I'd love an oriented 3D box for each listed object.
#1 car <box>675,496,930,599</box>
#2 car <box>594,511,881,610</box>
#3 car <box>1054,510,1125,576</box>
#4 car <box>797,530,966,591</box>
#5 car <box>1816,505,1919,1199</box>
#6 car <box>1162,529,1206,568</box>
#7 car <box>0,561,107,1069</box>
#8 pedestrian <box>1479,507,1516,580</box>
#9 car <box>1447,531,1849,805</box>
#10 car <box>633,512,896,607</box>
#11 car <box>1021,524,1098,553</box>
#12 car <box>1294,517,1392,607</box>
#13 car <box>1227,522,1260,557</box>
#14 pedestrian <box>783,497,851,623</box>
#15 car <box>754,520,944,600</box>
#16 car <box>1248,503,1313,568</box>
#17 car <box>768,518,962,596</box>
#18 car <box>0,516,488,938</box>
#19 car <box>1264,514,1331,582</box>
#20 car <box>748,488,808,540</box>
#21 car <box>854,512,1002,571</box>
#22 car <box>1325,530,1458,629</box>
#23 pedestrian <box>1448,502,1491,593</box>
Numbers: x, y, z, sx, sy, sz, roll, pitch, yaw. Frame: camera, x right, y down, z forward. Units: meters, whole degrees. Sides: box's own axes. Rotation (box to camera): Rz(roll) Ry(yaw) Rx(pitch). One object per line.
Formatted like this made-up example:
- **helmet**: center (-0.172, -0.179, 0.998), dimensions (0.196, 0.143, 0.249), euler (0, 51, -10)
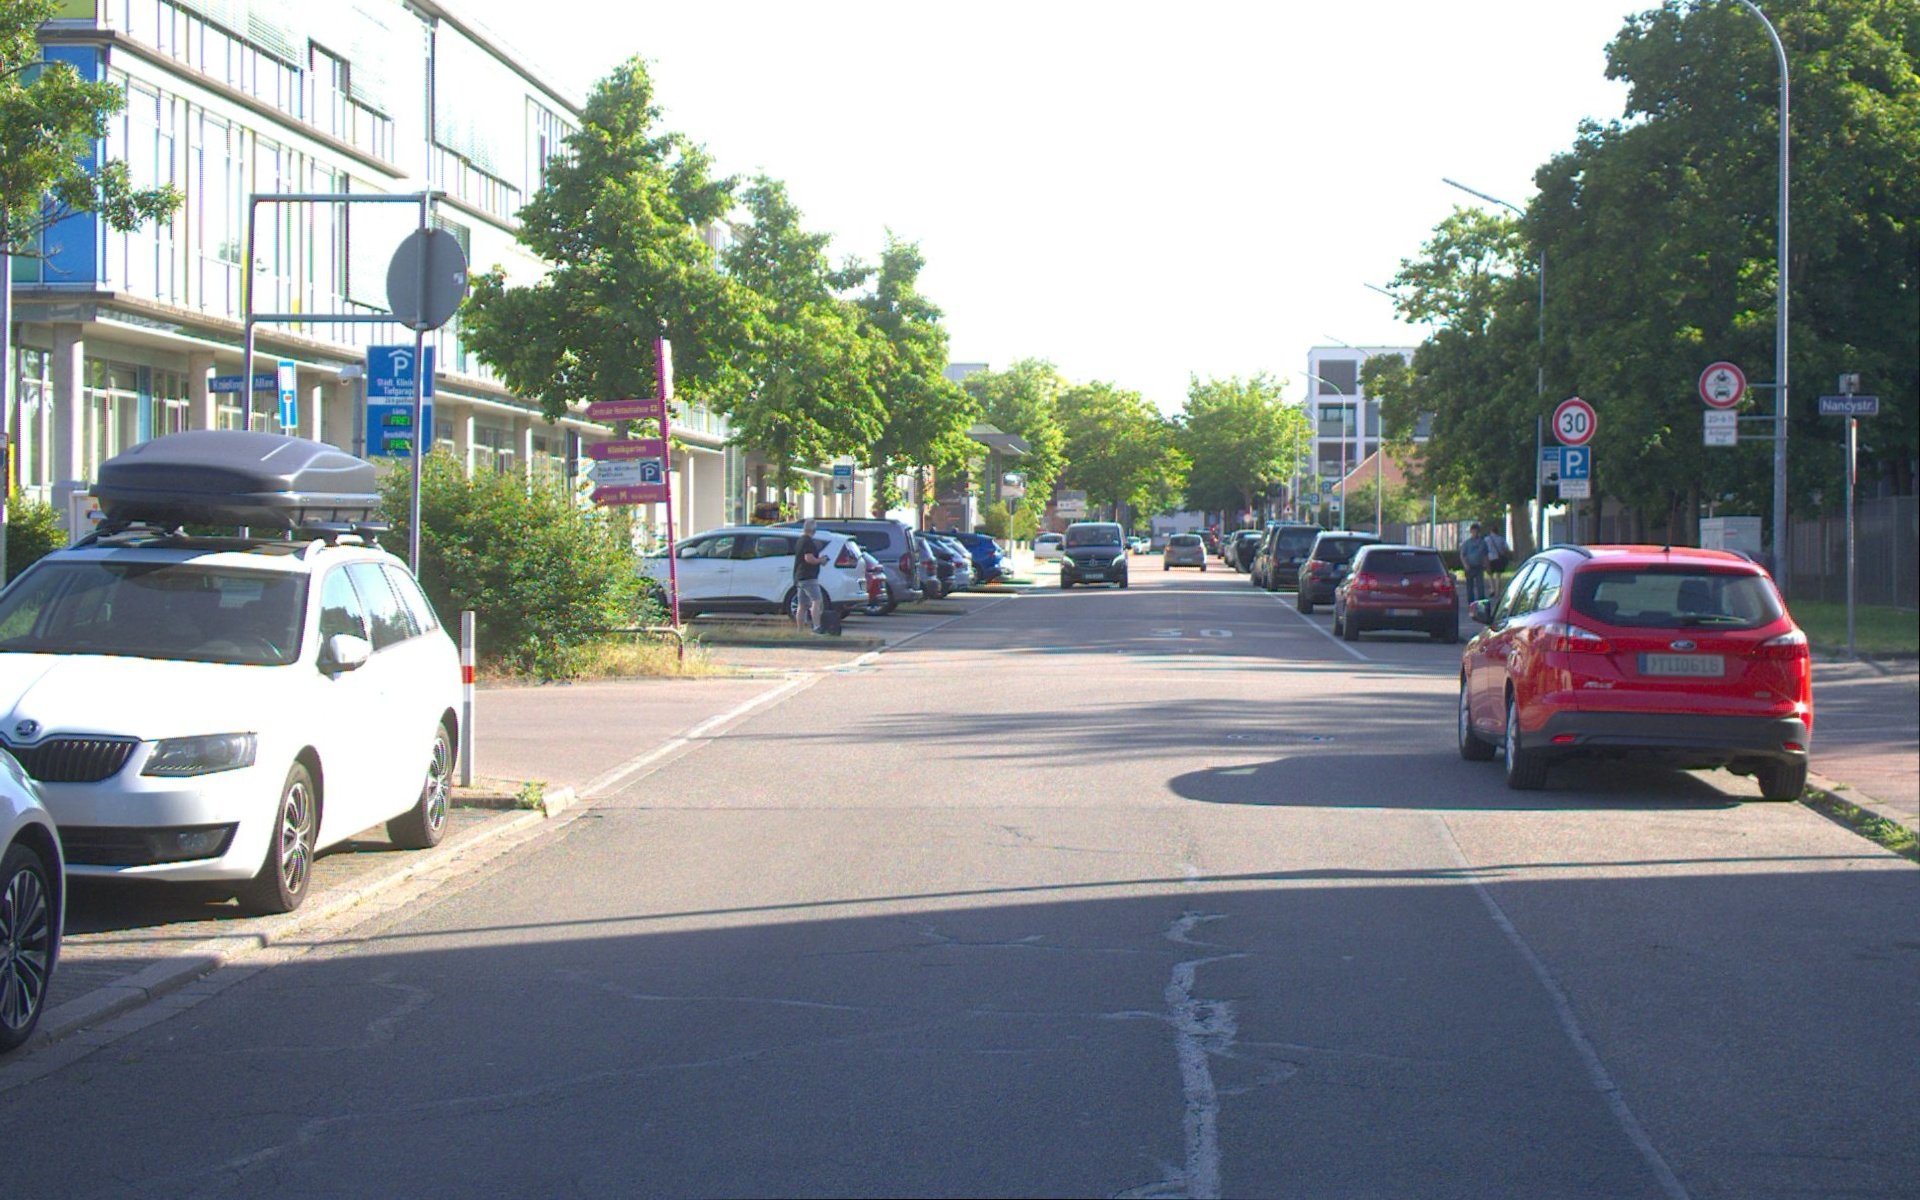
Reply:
- **car**: center (-3.045, -1.026, 66.974), dimensions (4.743, 1.858, 1.827), euler (2, 1, 4)
- **car**: center (-3.769, -0.685, 58.668), dimensions (4.613, 1.645, 1.867), euler (0, 1, 7)
- **car**: center (3.789, -1.677, 100.005), dimensions (1.955, 1.861, 5.255), euler (0, 1, 3)
- **car**: center (-1.860, -0.954, 82.628), dimensions (3.987, 1.354, 1.743), euler (1, 1, 0)
- **car**: center (2.783, 0.674, 5.453), dimensions (1.817, 1.594, 4.627), euler (3, 1, 3)
- **car**: center (9.014, -2.072, 138.309), dimensions (1.744, 1.538, 4.000), euler (1, 1, 4)
- **car**: center (-3.707, 0.634, 8.537), dimensions (1.747, 1.441, 4.541), euler (2, 1, 4)
- **pedestrian**: center (12.436, -1.303, 79.521), dimensions (0.698, 1.655, 0.752), euler (-3, 1, 3)
- **car**: center (4.214, 0.340, 21.729), dimensions (1.819, 1.494, 4.452), euler (2, 1, 3)
- **car**: center (-3.465, -0.729, 61.349), dimensions (4.434, 1.495, 1.827), euler (2, 1, 4)
- **car**: center (5.297, -3.280, 183.016), dimensions (3.987, 1.514, 2.000), euler (0, 0, 4)
- **car**: center (7.783, -0.805, 70.103), dimensions (1.812, 1.660, 4.592), euler (1, 2, 5)
- **car**: center (12.845, -2.757, 156.015), dimensions (1.436, 1.555, 3.042), euler (0, 1, 3)
- **pedestrian**: center (-2.125, -0.594, 51.226), dimensions (0.858, 1.836, 0.825), euler (2, 1, 5)
- **car**: center (-2.357, -0.875, 73.941), dimensions (3.987, 1.601, 1.872), euler (1, 1, 0)
- **car**: center (9.996, -2.017, 107.470), dimensions (1.875, 1.971, 4.000), euler (-1, 1, 3)
- **car**: center (-2.099, -0.974, 76.883), dimensions (4.246, 1.606, 2.048), euler (1, 1, 0)
- **car**: center (-3.368, 0.419, 15.024), dimensions (1.696, 1.508, 4.517), euler (2, 1, 3)
- **car**: center (9.307, -1.448, 95.009), dimensions (1.733, 1.824, 3.905), euler (0, 1, 4)
- **car**: center (-7.330, -3.471, 138.946), dimensions (1.994, 2.007, 3.999), euler (0, 0, 3)
- **car**: center (-0.913, -1.694, 99.649), dimensions (4.214, 1.597, 1.872), euler (1, 1, 0)
- **car**: center (6.741, -0.357, 54.103), dimensions (1.720, 1.450, 4.652), euler (1, 1, 3)
- **pedestrian**: center (10.105, -1.045, 68.146), dimensions (0.718, 1.752, 0.884), euler (-2, 1, 4)
